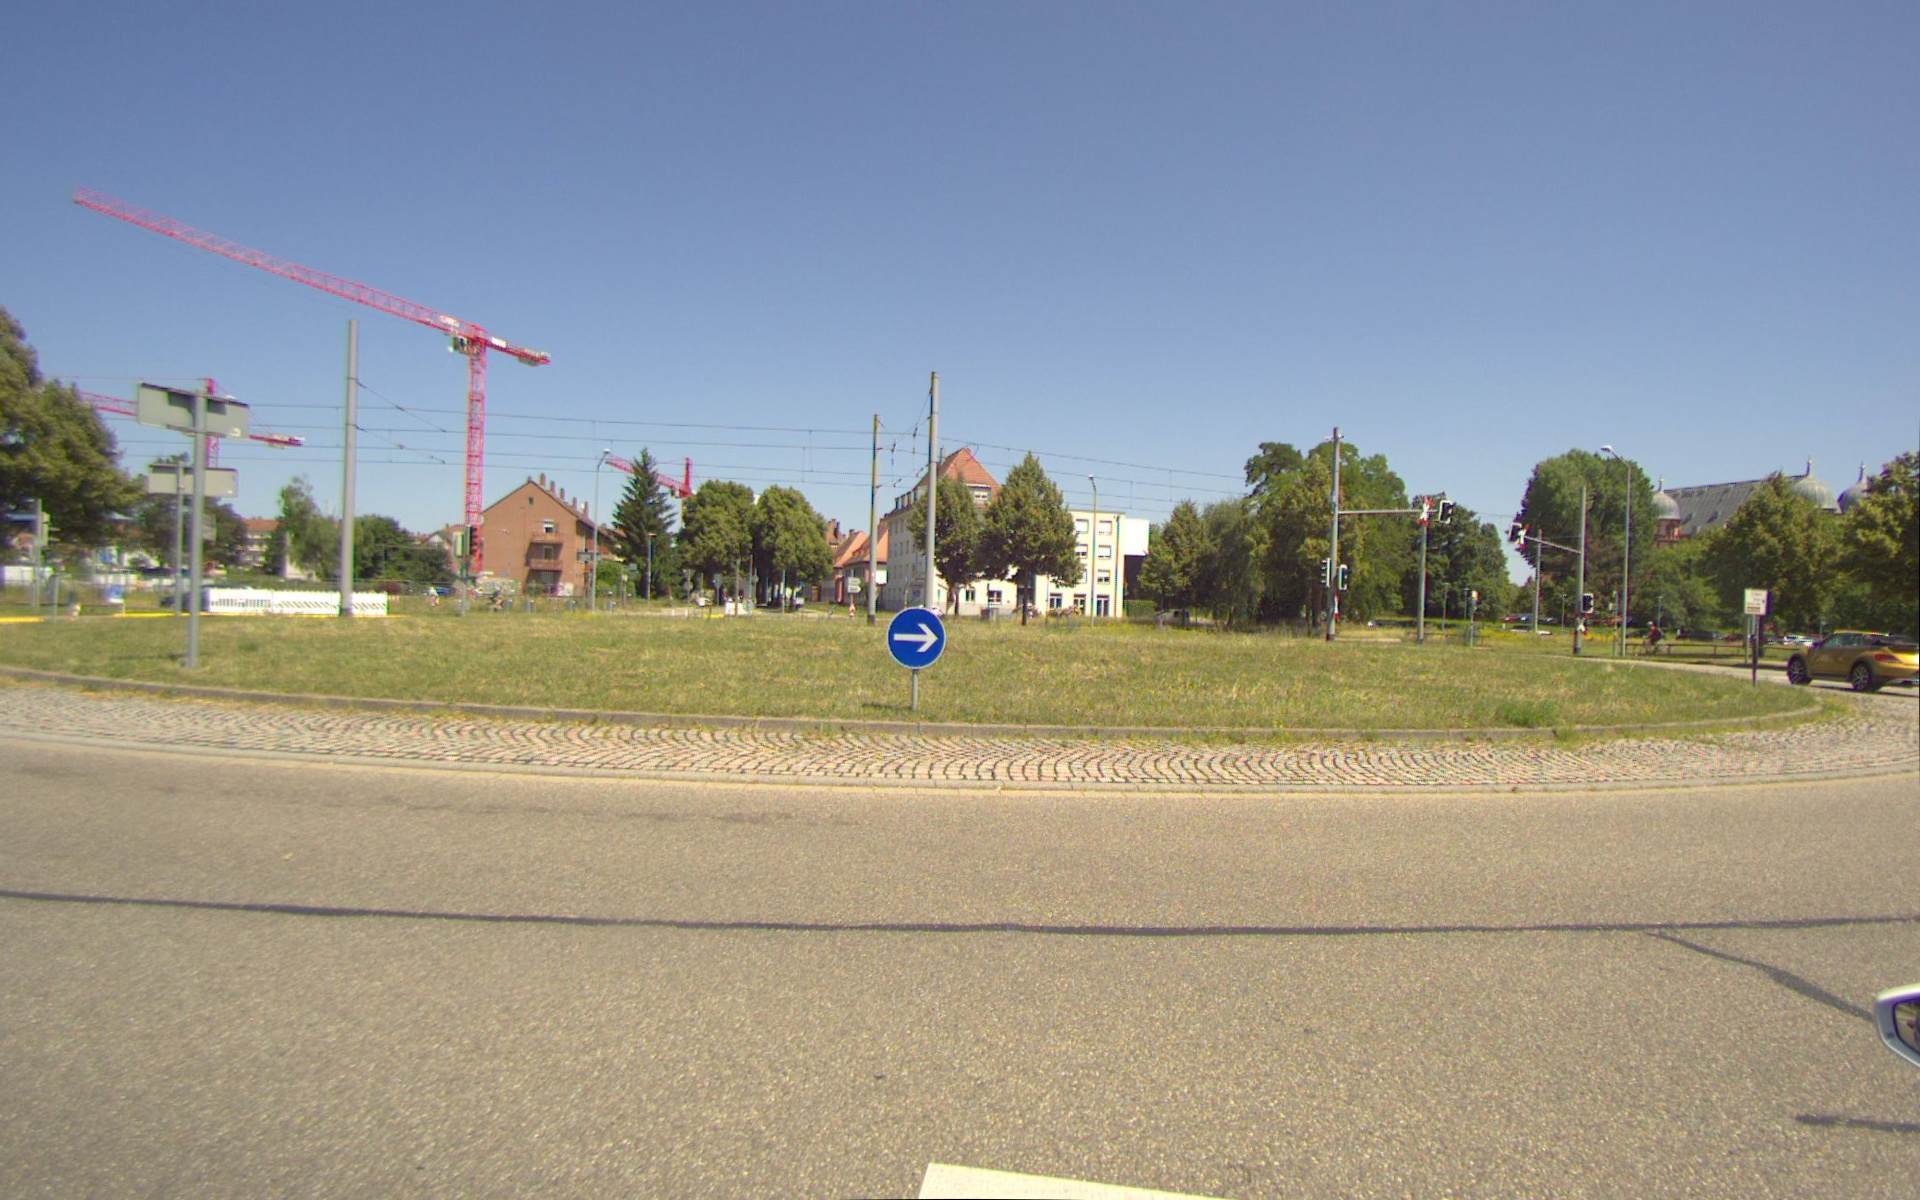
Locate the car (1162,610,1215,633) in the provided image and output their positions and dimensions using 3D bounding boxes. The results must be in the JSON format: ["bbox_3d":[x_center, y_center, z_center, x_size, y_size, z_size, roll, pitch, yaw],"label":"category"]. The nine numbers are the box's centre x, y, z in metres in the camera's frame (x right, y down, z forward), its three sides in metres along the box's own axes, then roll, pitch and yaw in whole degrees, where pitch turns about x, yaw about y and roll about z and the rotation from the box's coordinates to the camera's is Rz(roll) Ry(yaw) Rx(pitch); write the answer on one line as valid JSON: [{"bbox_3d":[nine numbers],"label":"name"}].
[{"bbox_3d":[19.952,1.864,87.801,3.927,1.706,1.997,4,-1,-8],"label":"car"}]

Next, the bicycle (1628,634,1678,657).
[{"bbox_3d":[37.070,2.430,53.763,0.723,1.130,2.037,4,-1,-36],"label":"bicycle"}]

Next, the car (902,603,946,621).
[{"bbox_3d":[-3.258,1.072,90.731,3.829,1.439,1.714,4,-1,-8],"label":"car"}]

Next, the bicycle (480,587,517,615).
[{"bbox_3d":[-29.844,0.065,64.943,2.063,1.707,0.555,4,-1,-32],"label":"bicycle"}]

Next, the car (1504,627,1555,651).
[{"bbox_3d":[55.930,3.814,98.673,3.944,2.040,1.989,3,-1,44],"label":"car"}]

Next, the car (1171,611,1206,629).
[{"bbox_3d":[28.330,2.495,124.563,3.921,2.040,2.000,3,0,20],"label":"car"}]

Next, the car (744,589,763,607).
[{"bbox_3d":[-25.928,-0.221,126.235,1.964,2.040,3.994,4,-1,-8],"label":"car"}]

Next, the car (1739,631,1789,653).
[{"bbox_3d":[84.513,4.390,105.578,3.944,2.040,1.989,3,-1,44],"label":"car"}]

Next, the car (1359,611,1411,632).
[{"bbox_3d":[39.277,1.980,92.880,3.940,1.594,1.991,3,-1,41],"label":"car"}]

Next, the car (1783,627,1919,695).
[{"bbox_3d":[21.862,1.436,24.069,1.794,1.421,3.664,3,0,12],"label":"car"}]

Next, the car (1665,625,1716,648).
[{"bbox_3d":[75.039,3.769,103.227,3.944,2.040,1.989,3,-1,44],"label":"car"}]

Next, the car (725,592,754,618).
[{"bbox_3d":[-18.603,0.405,84.914,1.964,2.040,3.994,4,-1,-8],"label":"car"}]

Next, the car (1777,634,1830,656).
[{"bbox_3d":[89.621,4.723,106.698,1.983,2.040,3.955,4,-1,-39],"label":"car"}]

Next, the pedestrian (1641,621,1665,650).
[{"bbox_3d":[37.029,1.884,53.651,0.703,1.470,0.809,4,0,-37],"label":"pedestrian"}]

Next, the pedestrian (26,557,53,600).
[{"bbox_3d":[-44.080,-1.028,48.094,0.591,2.040,0.595,3,0,4],"label":"pedestrian"}]

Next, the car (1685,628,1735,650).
[{"bbox_3d":[79.524,4.088,106.518,3.944,2.040,1.989,3,-1,44],"label":"car"}]
